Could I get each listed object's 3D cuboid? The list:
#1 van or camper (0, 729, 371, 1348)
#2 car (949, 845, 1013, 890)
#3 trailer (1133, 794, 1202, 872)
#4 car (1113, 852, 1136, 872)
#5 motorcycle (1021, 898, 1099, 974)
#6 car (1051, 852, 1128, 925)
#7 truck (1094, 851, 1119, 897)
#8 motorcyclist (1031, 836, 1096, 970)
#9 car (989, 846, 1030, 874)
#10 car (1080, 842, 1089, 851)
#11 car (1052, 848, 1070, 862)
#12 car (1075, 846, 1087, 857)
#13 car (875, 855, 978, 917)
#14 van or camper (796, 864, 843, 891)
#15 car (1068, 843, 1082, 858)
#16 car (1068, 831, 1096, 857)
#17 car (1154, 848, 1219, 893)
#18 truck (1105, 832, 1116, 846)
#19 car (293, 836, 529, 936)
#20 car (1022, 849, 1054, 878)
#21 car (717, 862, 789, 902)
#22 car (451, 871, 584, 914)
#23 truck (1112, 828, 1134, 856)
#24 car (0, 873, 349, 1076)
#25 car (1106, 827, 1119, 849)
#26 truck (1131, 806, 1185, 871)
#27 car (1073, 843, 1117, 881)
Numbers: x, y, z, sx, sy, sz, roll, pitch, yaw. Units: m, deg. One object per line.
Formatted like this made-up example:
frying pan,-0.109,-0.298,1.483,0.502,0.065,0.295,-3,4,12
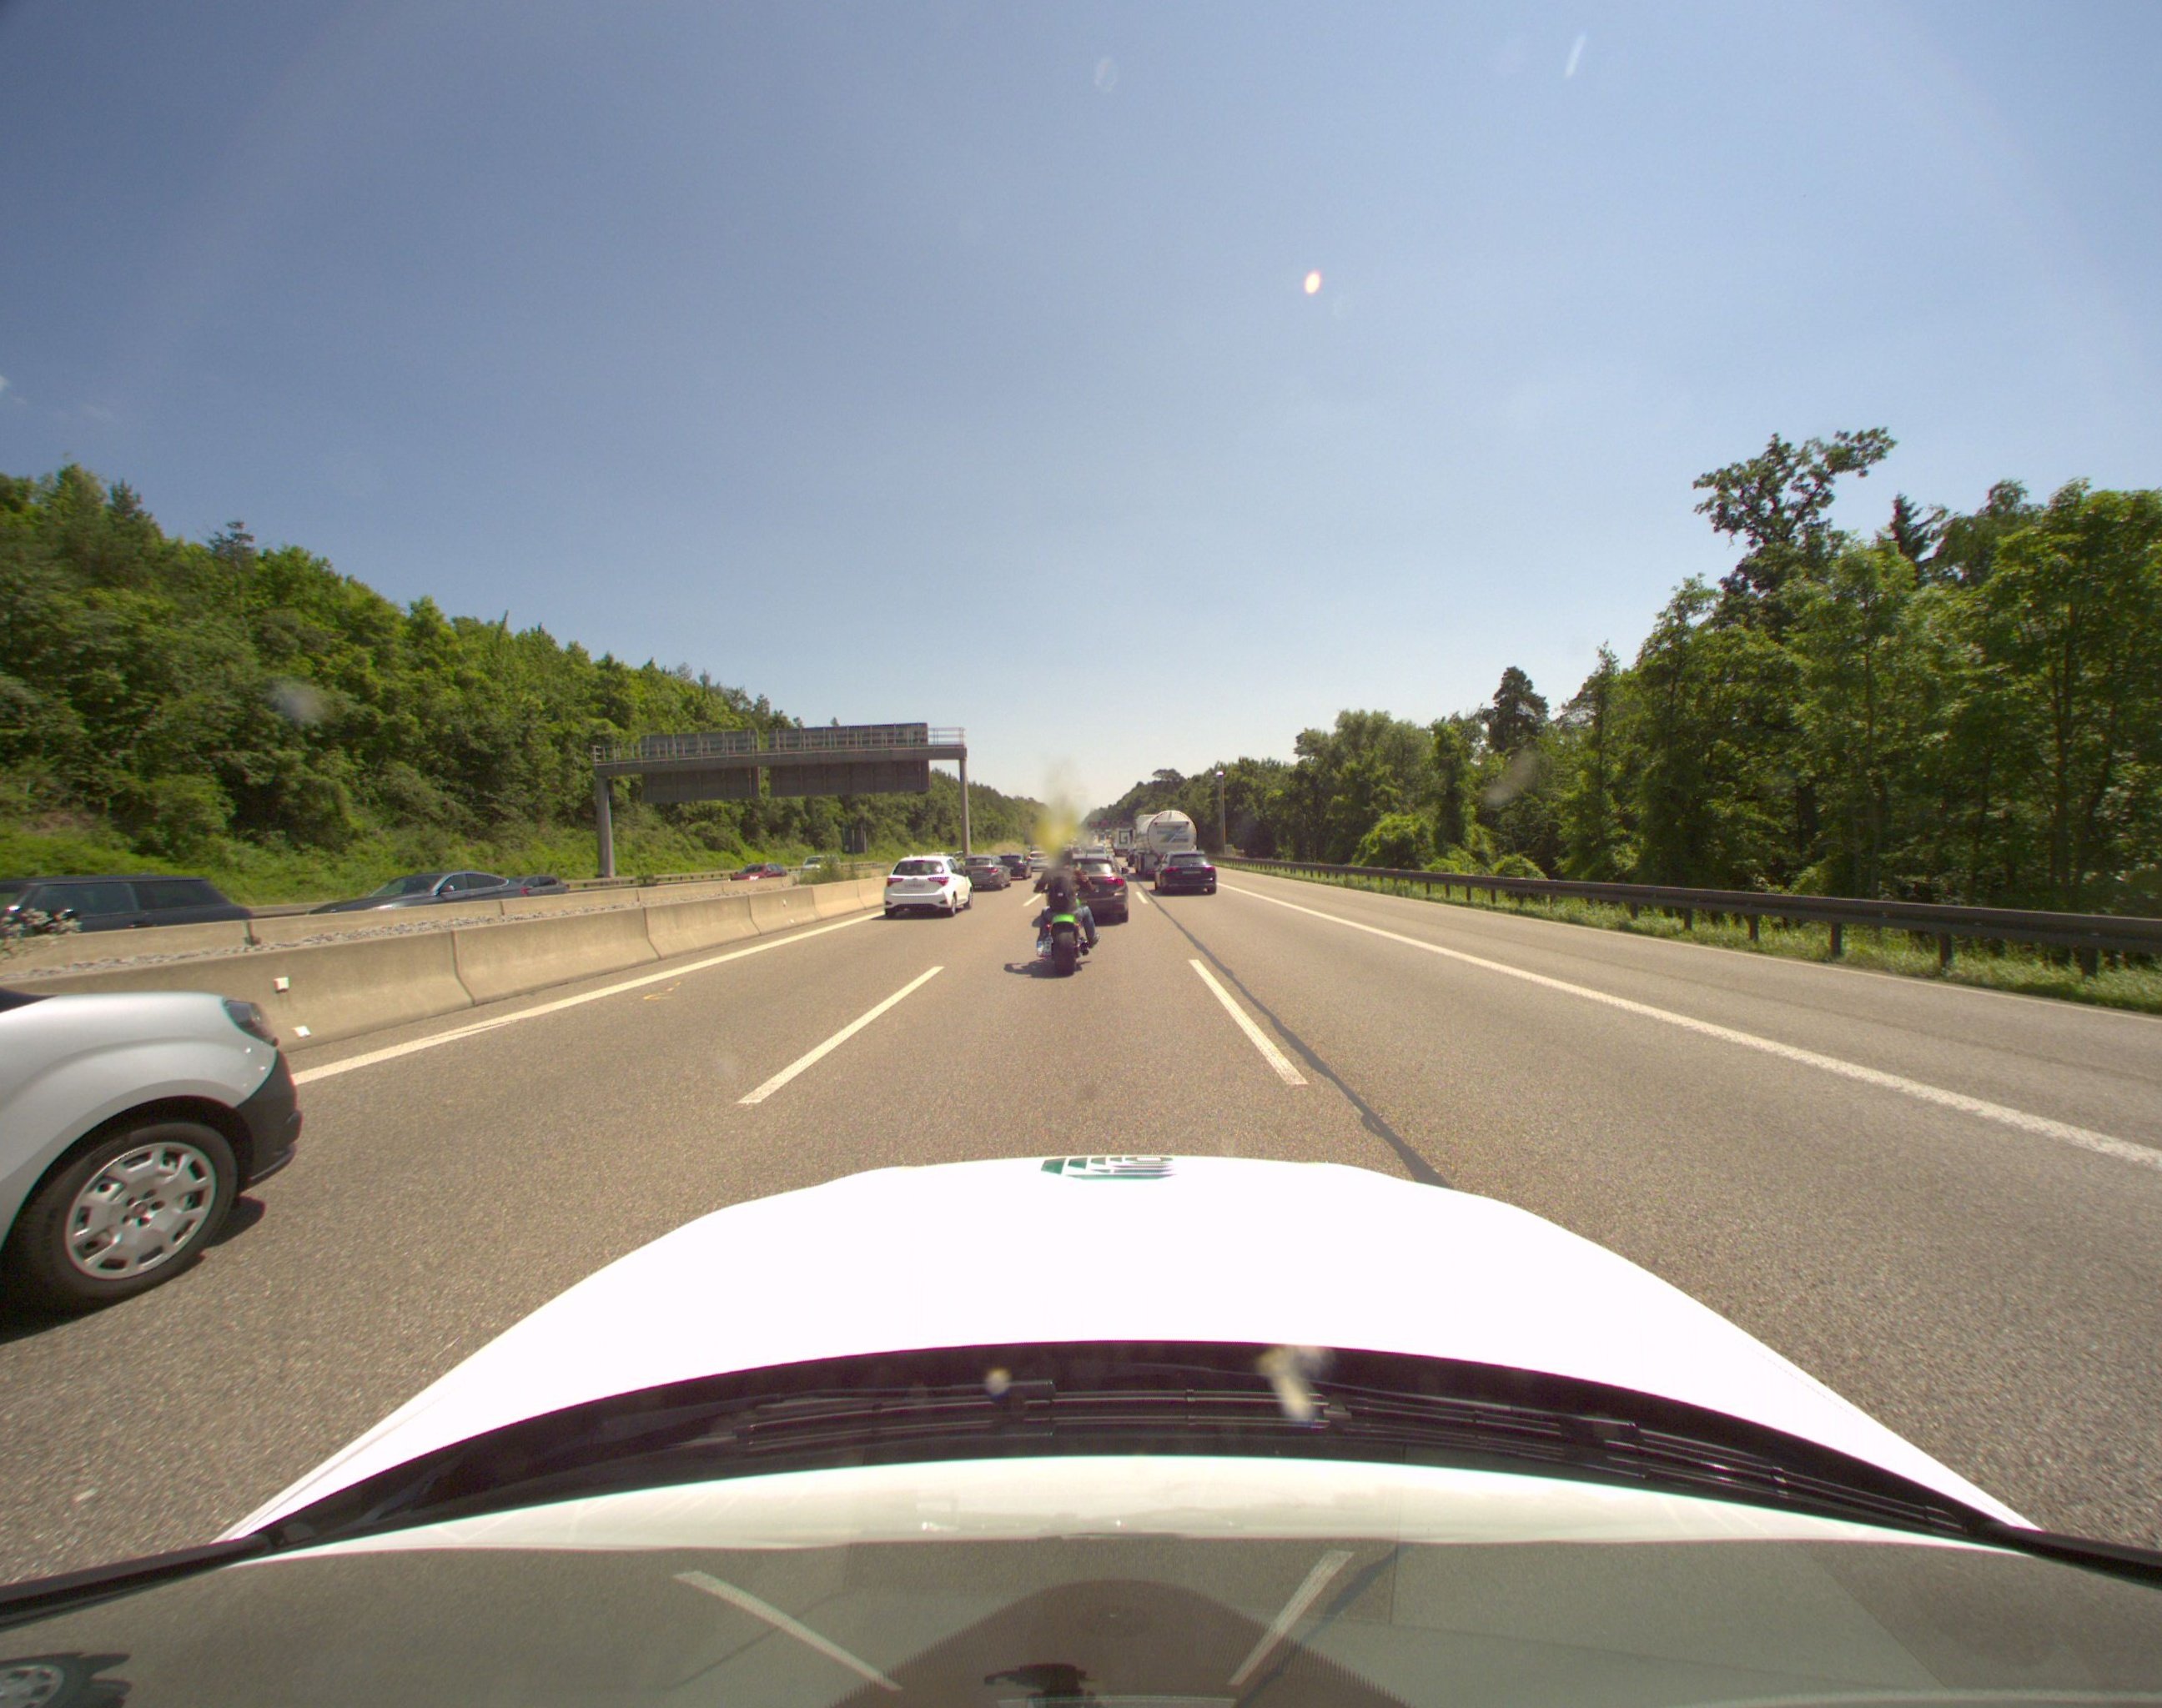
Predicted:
van or camper,-4.257,0.580,1.442,1.846,1.880,4.564,-1,0,2
car,-4.018,0.546,33.486,1.986,1.684,4.331,-1,-1,1
trailer,4.414,-0.915,43.875,2.817,3.671,10.735,-1,-1,2
car,3.558,0.682,67.123,1.769,1.527,4.001,-1,-1,1
motorcycle,-0.229,1.059,11.042,0.932,0.793,2.299,-1,0,1
car,0.232,0.697,18.482,1.535,1.450,4.001,-1,0,1
truck,2.647,1.963,86.398,2.380,4.464,10.869,-1,0,1
motorcyclist,-0.211,0.627,10.829,0.796,1.688,1.017,-1,-1,1
car,-3.831,0.340,44.285,1.988,1.464,3.997,-1,-1,-2
car,0.785,-1.620,177.126,1.986,2.013,4.001,-2,0,1
car,-2.294,0.108,92.909,1.757,1.442,4.002,-1,0,2
car,-0.037,-0.406,128.282,1.654,1.599,4.002,-1,-1,2
car,-3.866,0.784,21.050,1.769,1.411,4.001,-1,-1,1
van or camper,-20.692,1.841,64.614,1.986,2.014,4.682,-1,-1,2
car,-0.830,-0.476,111.040,1.654,1.978,4.002,-1,-1,2
car,0.126,-0.712,60.134,1.987,1.775,4.000,-1,-1,1
car,3.633,0.574,28.728,1.785,1.458,4.625,-1,-1,1
truck,7.853,-3.976,214.293,2.686,3.405,10.481,-2,0,2
car,-15.067,0.650,18.665,1.986,2.013,4.001,-1,0,1
car,-3.139,0.700,60.122,1.986,2.014,4.000,-1,-1,1
car,-17.584,1.487,43.826,1.986,2.014,4.285,-1,-1,2
car,-20.634,1.371,30.053,1.986,1.447,4.002,-1,-1,2
truck,6.116,-1.711,117.326,2.841,3.821,7.195,-1,-1,4
car,-11.094,1.187,9.241,1.900,1.882,4.000,-1,-1,1
car,5.967,-2.961,154.990,2.159,3.893,9.332,-1,-1,2
truck,4.563,-0.813,49.650,2.817,3.671,6.431,-1,-1,1
car,0.659,0.378,39.177,1.987,1.711,4.000,-1,-1,1
